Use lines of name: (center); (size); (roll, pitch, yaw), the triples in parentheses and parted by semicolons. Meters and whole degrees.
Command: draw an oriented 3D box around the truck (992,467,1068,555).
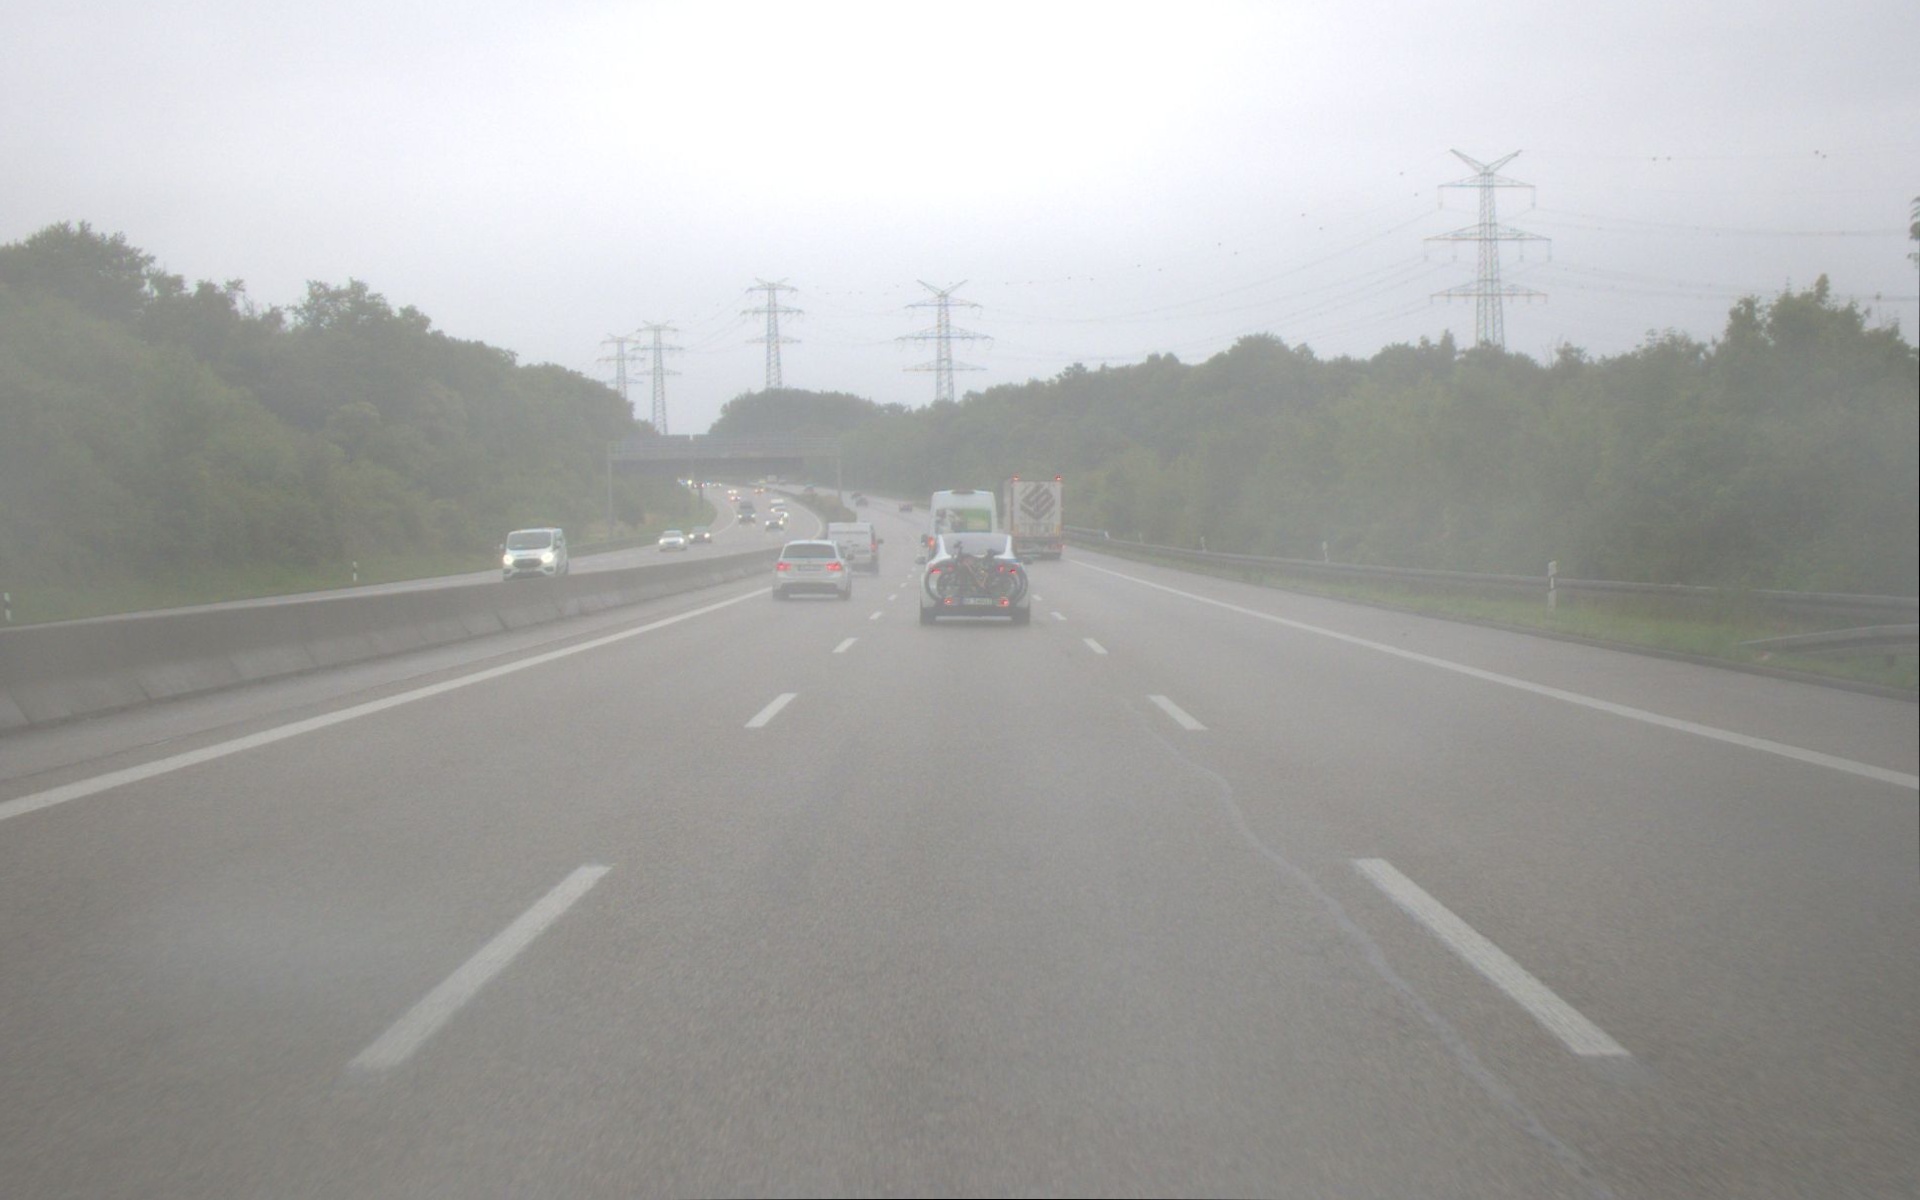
truck: (3.497, -4.547, 174.968); (3.603, 4.317, 13.201); (0, 2, 0)

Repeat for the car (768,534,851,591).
car: (-3.537, -0.908, 81.177); (1.866, 1.284, 4.000); (-1, 1, -2)

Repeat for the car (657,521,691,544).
car: (-20.886, -4.911, 250.843); (1.993, 1.612, 4.000); (1, 0, 2)

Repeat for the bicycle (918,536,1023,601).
bicycle: (0.166, -0.532, 57.828); (1.753, 1.087, 0.914); (0, 1, -1)

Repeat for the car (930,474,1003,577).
car: (0.190, -2.107, 98.751); (1.993, 2.854, 4.000); (1, 0, 0)

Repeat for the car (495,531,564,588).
car: (-15.808, -1.506, 126.481); (1.993, 2.007, 5.762); (-1, 1, -2)

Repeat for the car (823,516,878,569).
car: (-3.770, -2.003, 118.845); (1.846, 1.766, 4.000); (-1, 1, -2)

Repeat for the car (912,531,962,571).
car: (-0.894, -1.871, 130.287); (1.857, 1.417, 4.001); (0, 2, -1)

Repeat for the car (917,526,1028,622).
car: (0.183, -0.492, 60.799); (1.860, 1.562, 4.964); (0, 2, -1)
